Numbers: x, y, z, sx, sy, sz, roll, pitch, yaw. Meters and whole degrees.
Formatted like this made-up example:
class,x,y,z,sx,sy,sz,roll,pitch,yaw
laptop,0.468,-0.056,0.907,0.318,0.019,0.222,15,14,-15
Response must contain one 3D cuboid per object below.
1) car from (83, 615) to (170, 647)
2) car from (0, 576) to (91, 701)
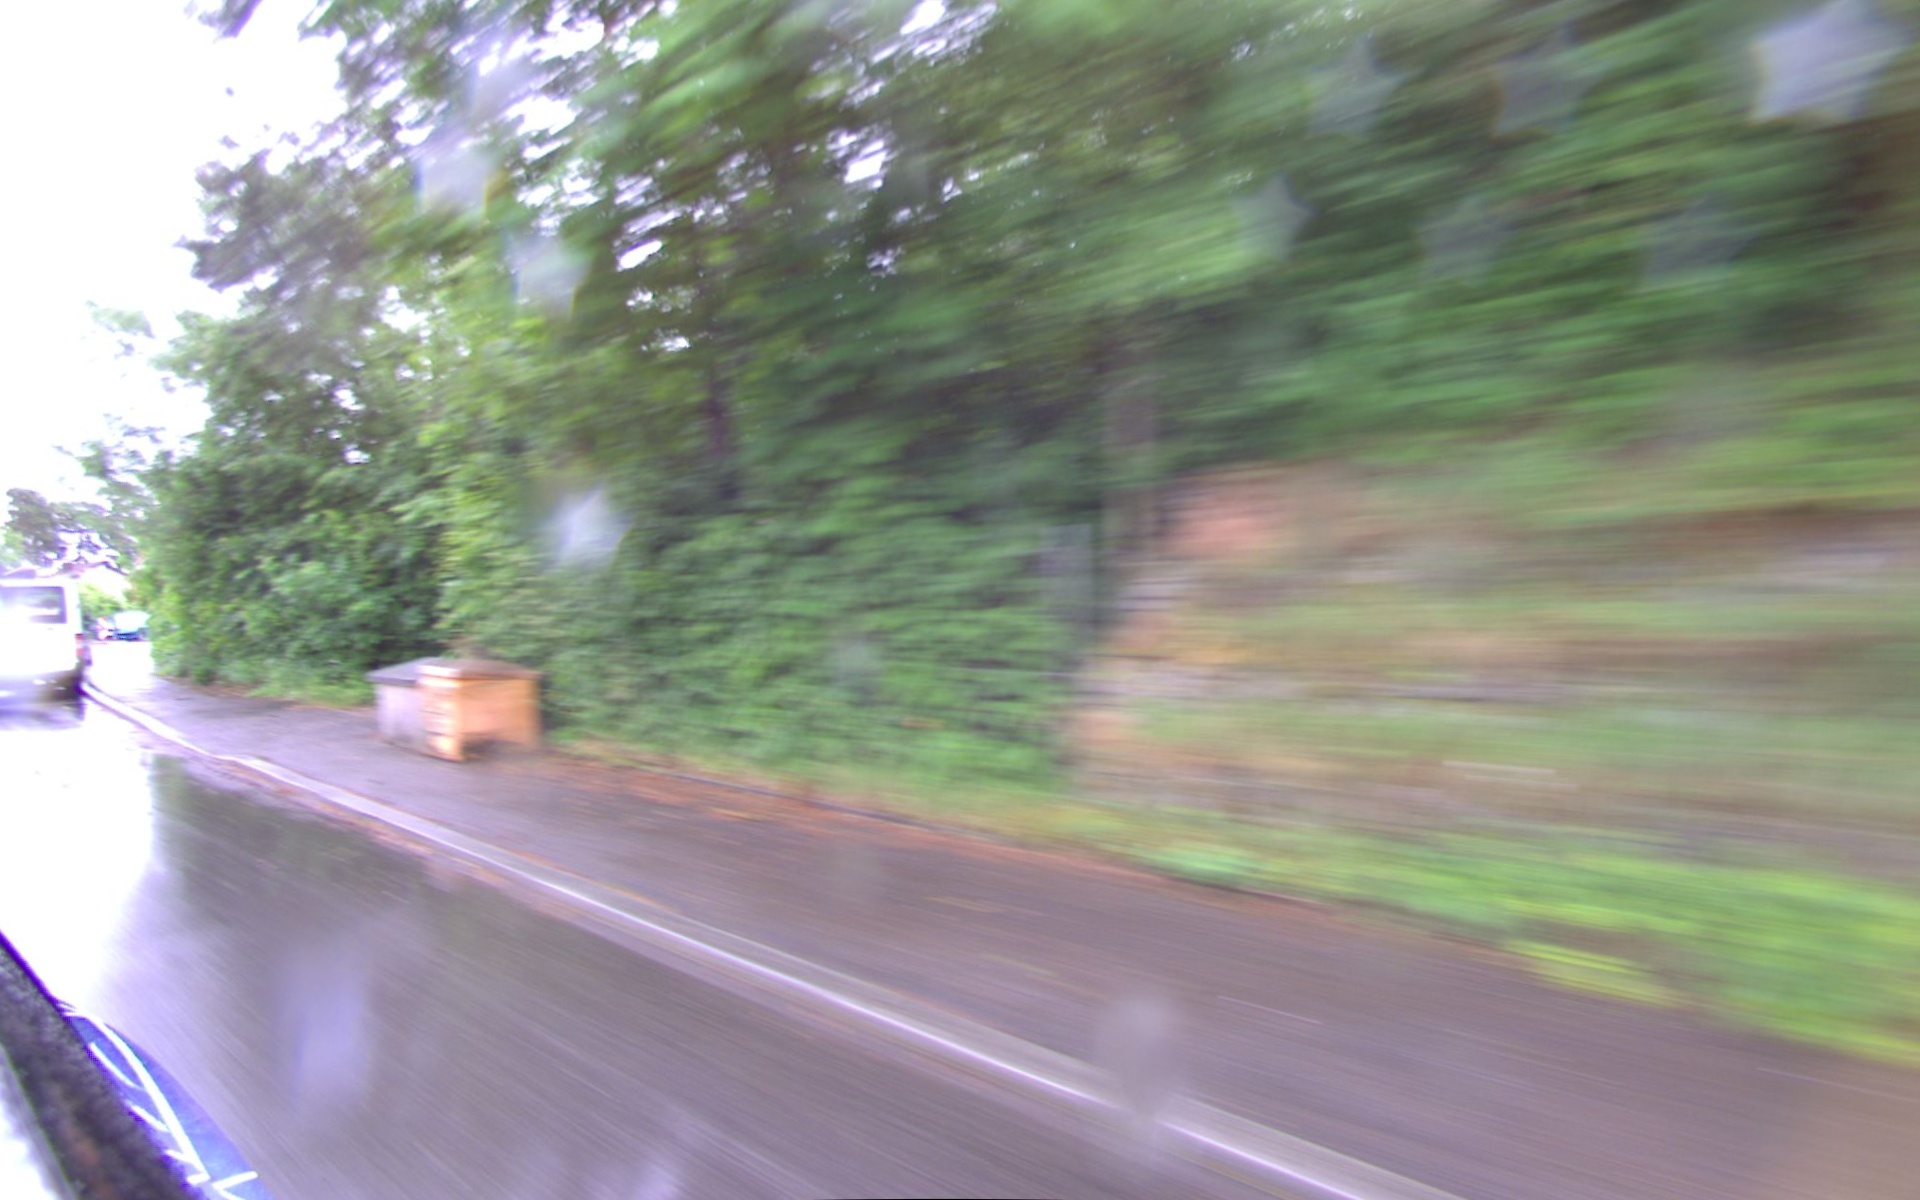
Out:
class,x,y,z,sx,sy,sz,roll,pitch,yaw
car,-42.060,1.528,51.180,1.771,1.480,4.228,-2,0,-15
car,-16.927,0.651,17.891,2.087,1.989,5.176,0,-1,-44
